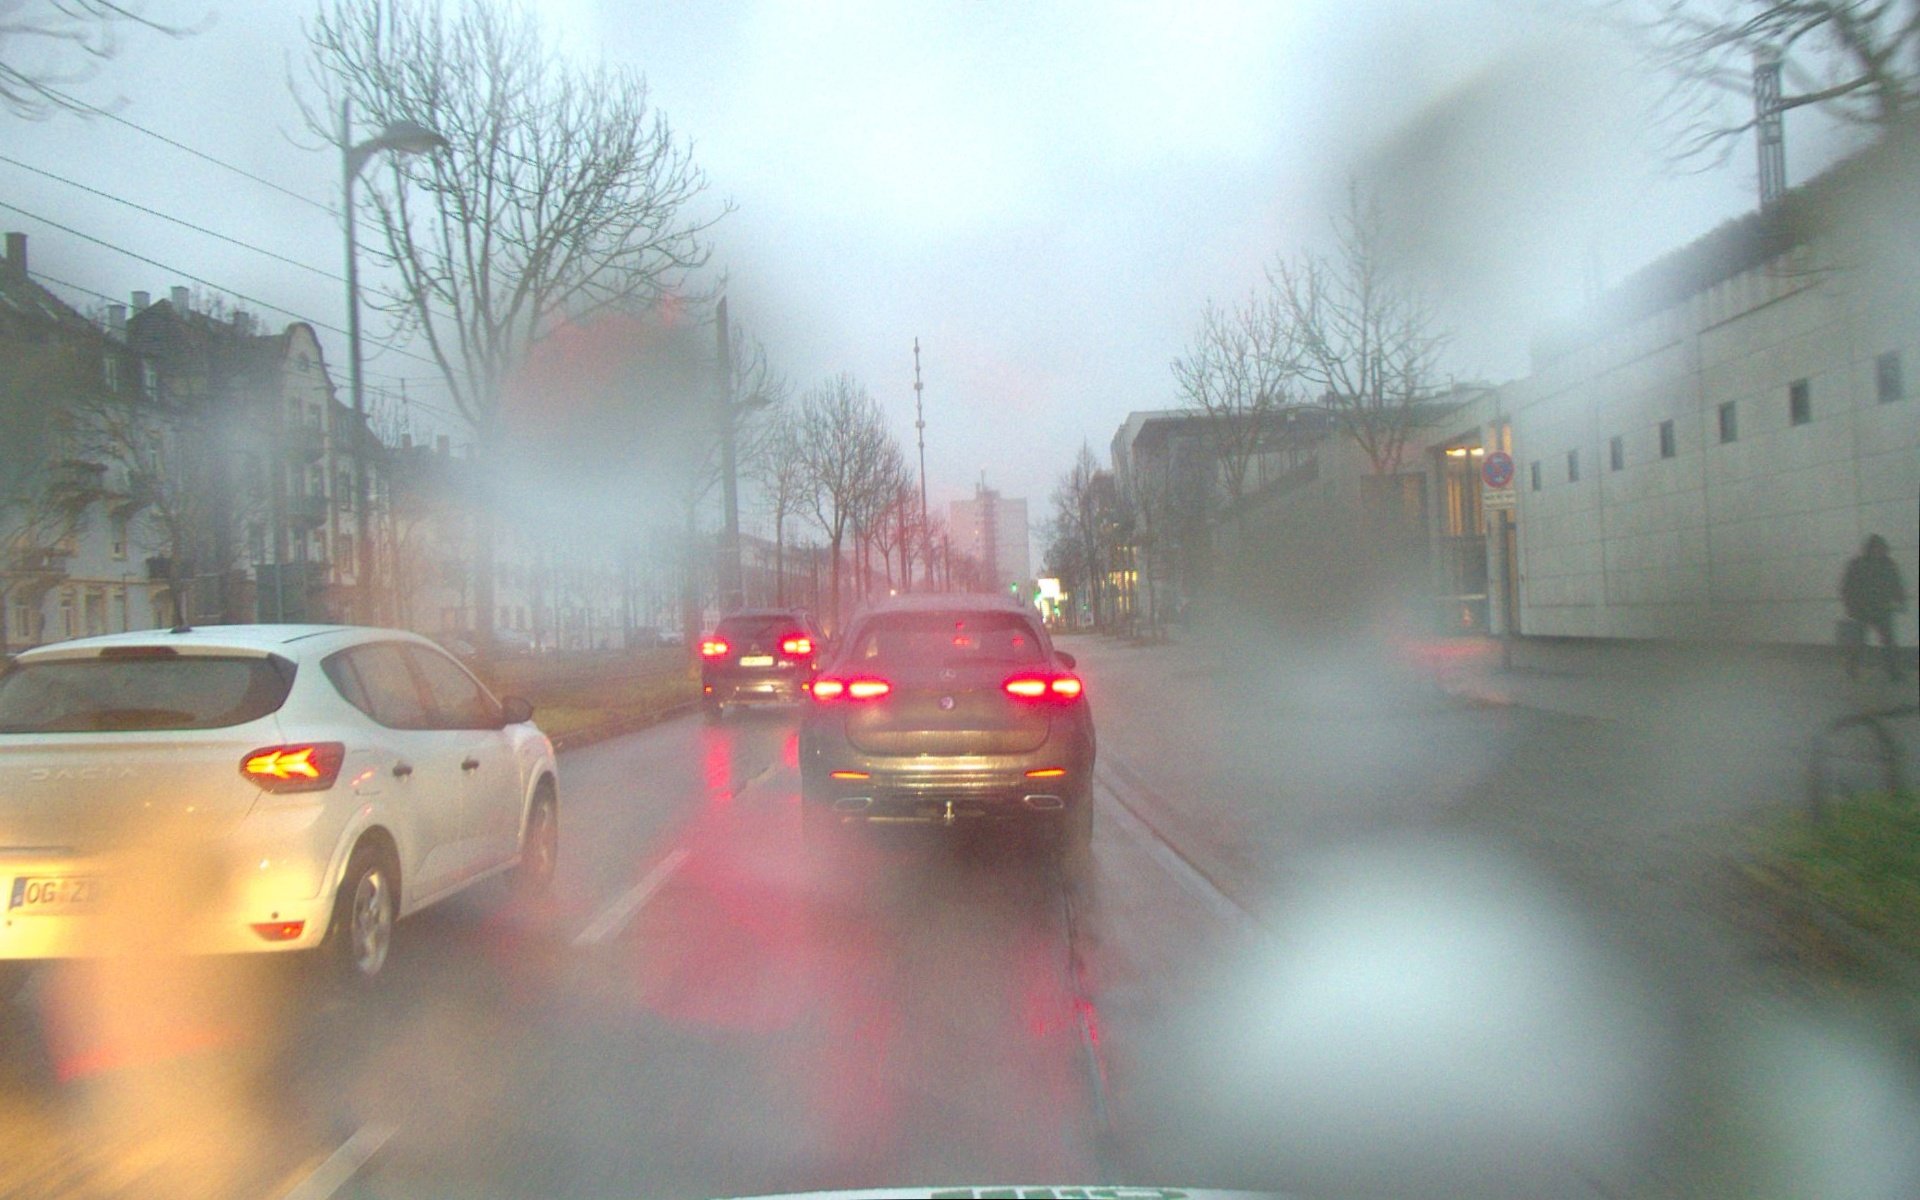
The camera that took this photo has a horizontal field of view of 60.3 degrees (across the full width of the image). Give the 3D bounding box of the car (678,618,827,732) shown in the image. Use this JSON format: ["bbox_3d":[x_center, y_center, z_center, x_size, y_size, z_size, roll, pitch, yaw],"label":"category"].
[{"bbox_3d":[-3.230,1.138,26.457,1.637,1.628,4.054,-2,-1,3],"label":"car"}]

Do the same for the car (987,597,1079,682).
[{"bbox_3d":[1.705,0.898,38.412,1.952,1.774,4.001,-3,-1,3],"label":"car"}]

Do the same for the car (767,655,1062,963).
[{"bbox_3d":[-0.165,1.261,11.438,1.637,1.628,4.054,-2,-1,3],"label":"car"}]

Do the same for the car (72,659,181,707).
[{"bbox_3d":[-28.046,2.768,55.790,1.739,1.377,3.557,-3,0,2],"label":"car"}]

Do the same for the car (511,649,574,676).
[{"bbox_3d":[-24.452,3.674,96.848,3.485,1.377,1.775,-4,-1,36],"label":"car"}]

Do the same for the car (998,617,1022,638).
[{"bbox_3d":[4.358,2.405,144.701,1.952,1.759,4.001,-3,-1,2],"label":"car"}]

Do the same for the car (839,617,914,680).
[{"bbox_3d":[-2.268,1.309,45.788,1.637,1.628,4.054,-2,-1,3],"label":"car"}]

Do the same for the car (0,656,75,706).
[{"bbox_3d":[-31.997,2.756,56.272,1.739,1.526,3.557,-3,0,2],"label":"car"}]

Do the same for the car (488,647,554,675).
[{"bbox_3d":[-24.704,3.417,93.087,3.485,1.377,1.775,-4,-1,36],"label":"car"}]

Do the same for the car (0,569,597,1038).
[{"bbox_3d":[-3.050,0.758,7.889,1.637,1.628,4.054,-2,-1,1],"label":"car"}]

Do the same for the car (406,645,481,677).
[{"bbox_3d":[-25.665,3.037,82.137,3.485,1.377,1.775,-4,-1,36],"label":"car"}]

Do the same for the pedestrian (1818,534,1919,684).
[{"bbox_3d":[10.542,0.103,18.988,0.918,1.646,0.694,-3,-1,-1],"label":"pedestrian"}]

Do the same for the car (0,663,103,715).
[{"bbox_3d":[-28.206,2.721,50.871,1.739,1.377,3.557,-3,0,2],"label":"car"}]
